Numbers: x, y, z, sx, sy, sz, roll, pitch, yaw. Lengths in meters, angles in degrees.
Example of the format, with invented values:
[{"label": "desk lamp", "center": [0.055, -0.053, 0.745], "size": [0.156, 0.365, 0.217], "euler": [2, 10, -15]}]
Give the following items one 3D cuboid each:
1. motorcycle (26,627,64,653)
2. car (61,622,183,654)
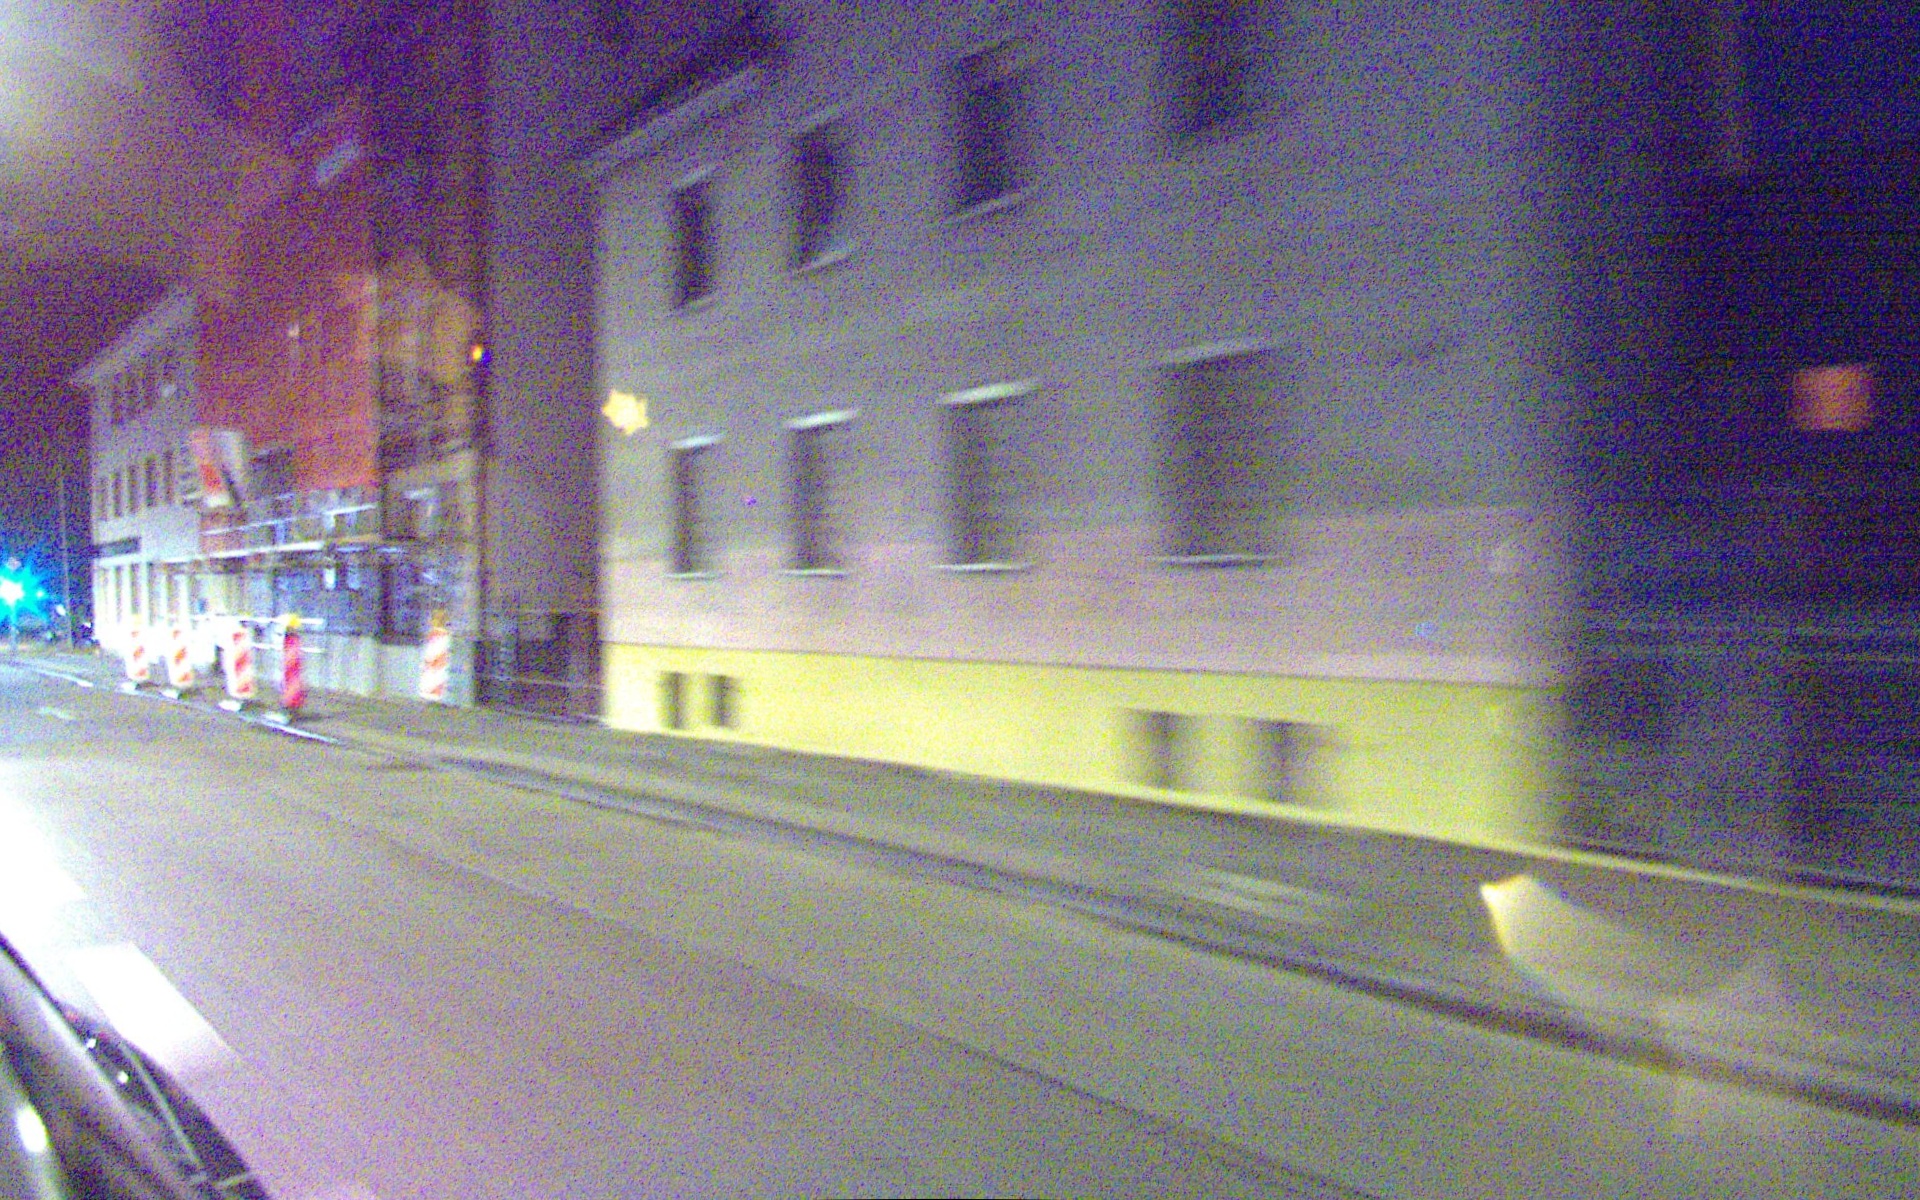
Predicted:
[{"label": "motorcycle", "center": [-43.297, 1.885, 47.902], "size": [2.020, 1.189, 0.569], "euler": [-1, -1, 24]}, {"label": "car", "center": [-39.508, 1.788, 47.750], "size": [4.677, 1.435, 1.887], "euler": [0, -1, 10]}]
